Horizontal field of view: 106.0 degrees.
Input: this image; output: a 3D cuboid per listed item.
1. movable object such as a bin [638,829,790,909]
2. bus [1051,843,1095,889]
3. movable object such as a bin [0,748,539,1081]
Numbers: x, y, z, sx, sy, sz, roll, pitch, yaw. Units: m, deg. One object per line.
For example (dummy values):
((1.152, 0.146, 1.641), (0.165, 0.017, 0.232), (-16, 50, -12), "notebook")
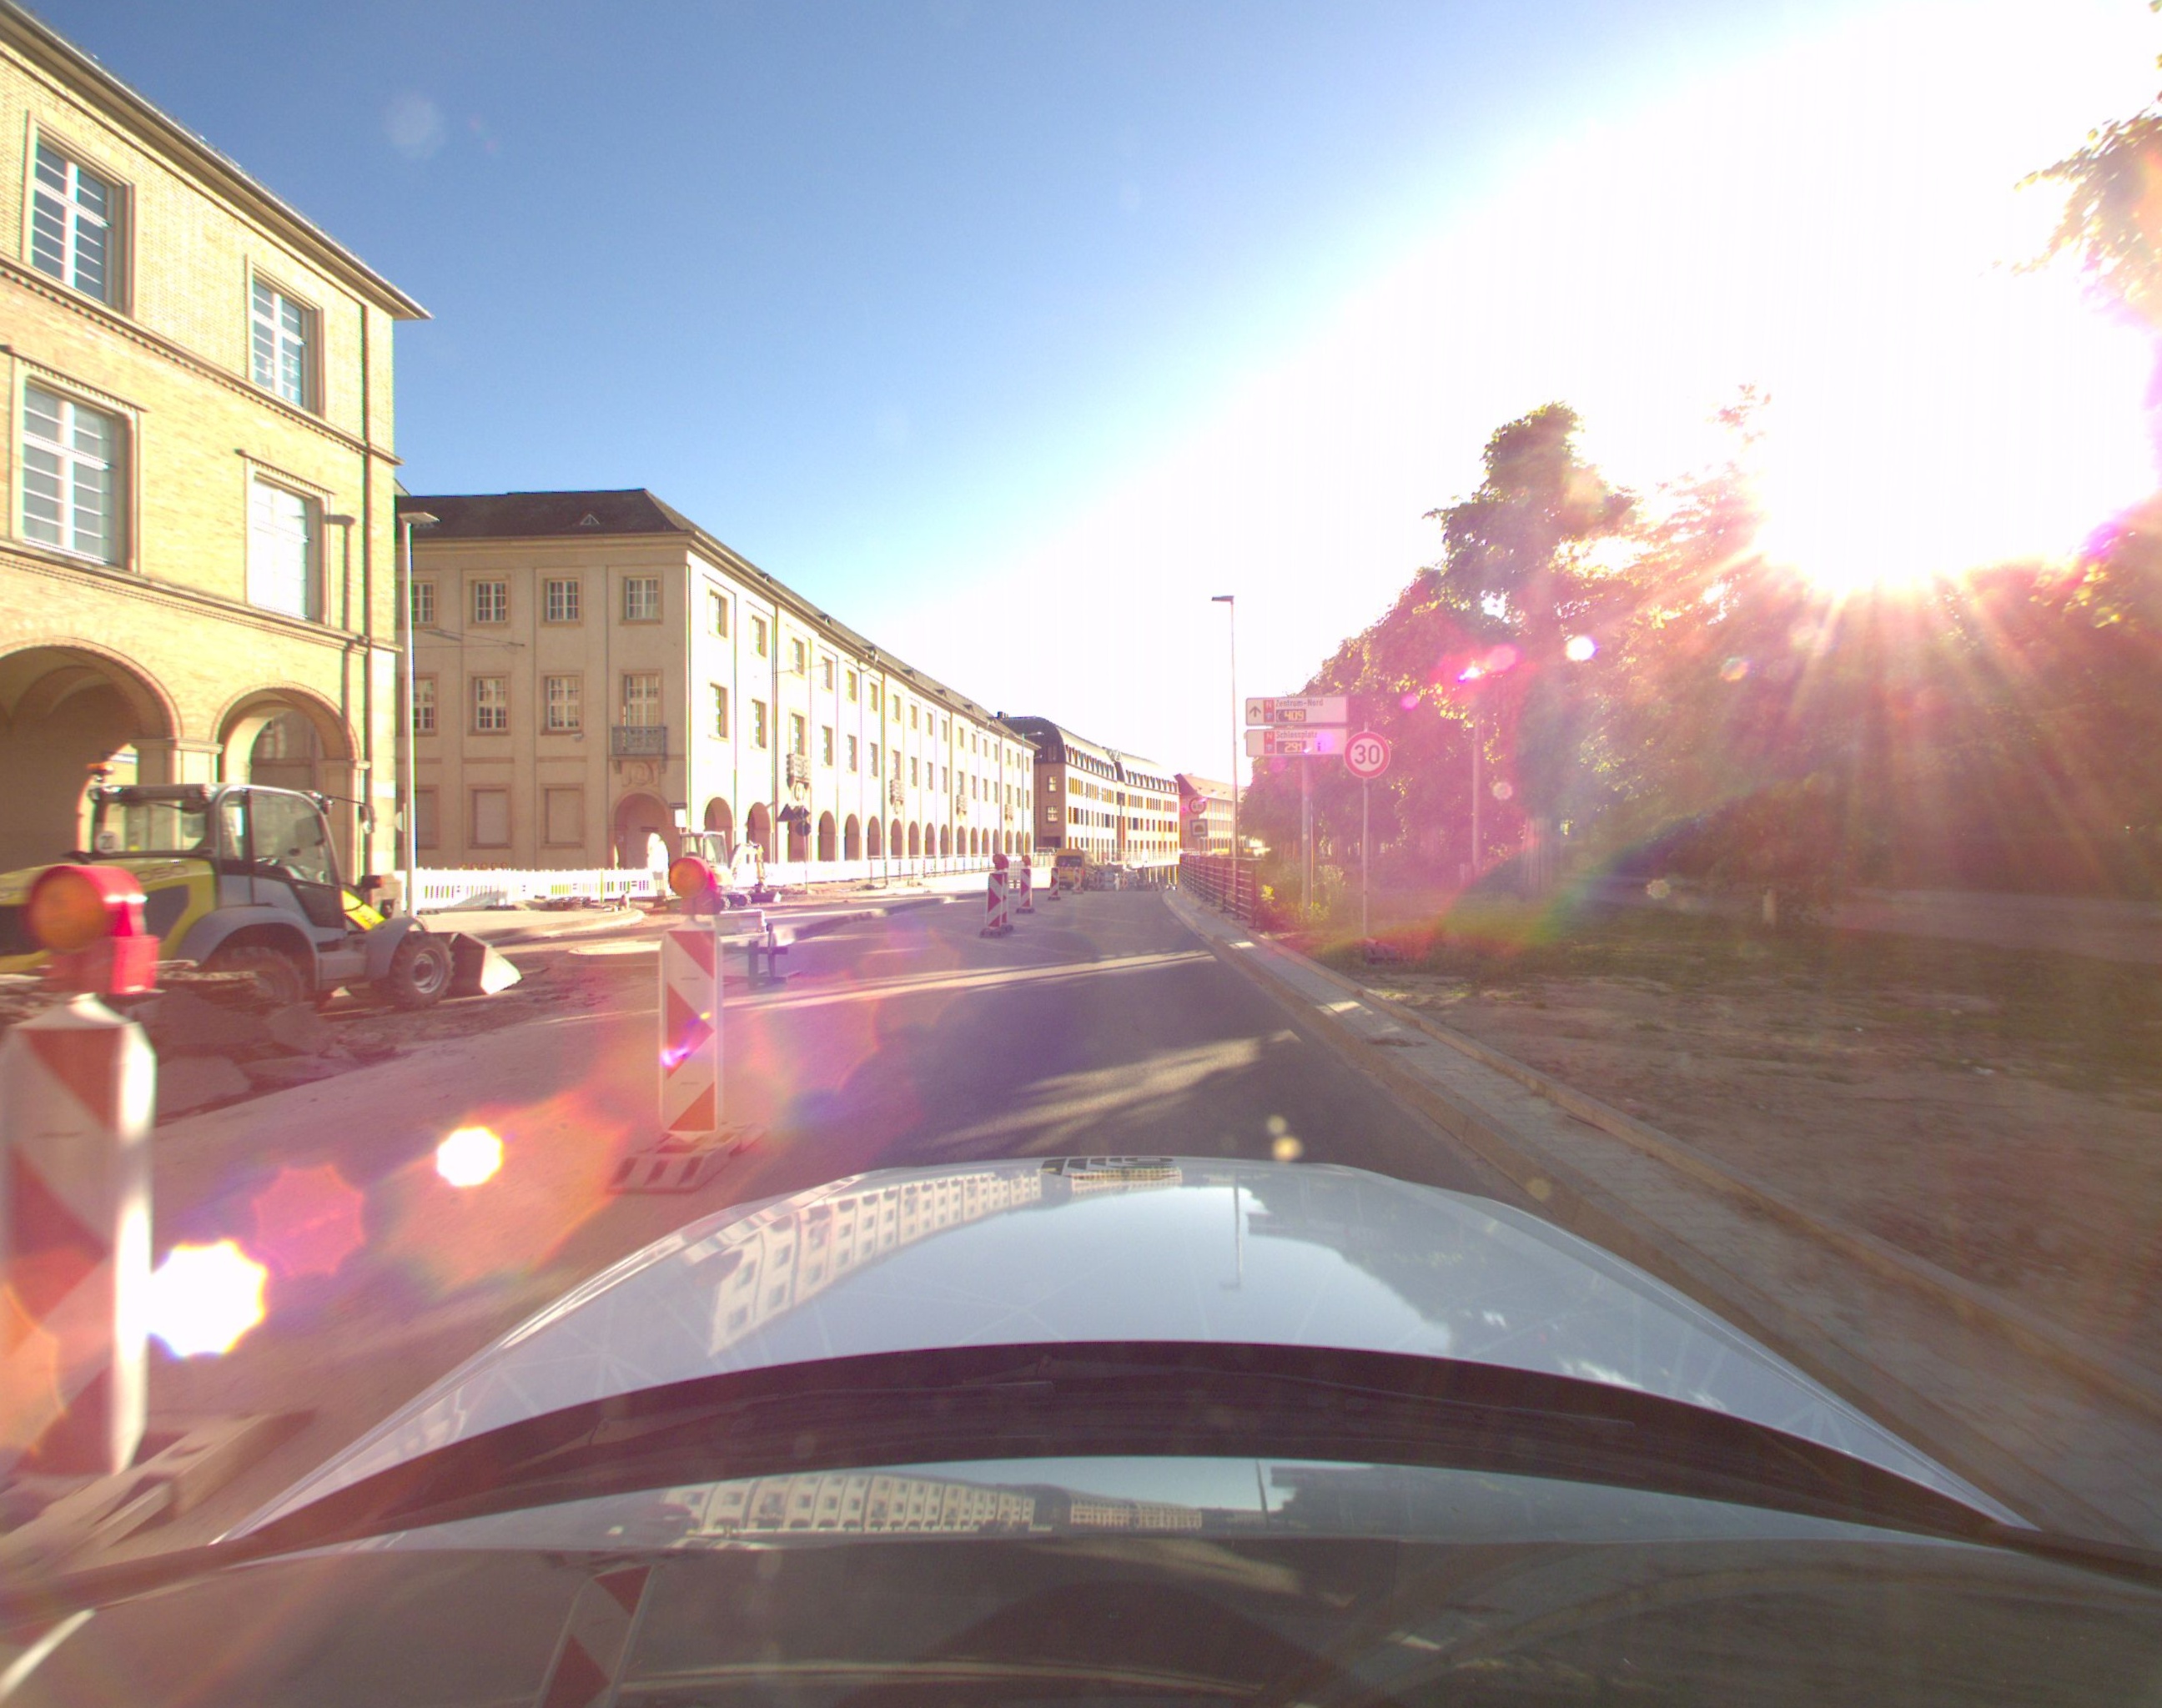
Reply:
((-11.726, 0.444, 26.452), (2.533, 2.348, 4.468), (-1, 0, 6), "movable object such as a bin")
((-0.434, 0.792, 50.705), (2.061, 2.687, 4.693), (0, -2, 8), "bus")
((-8.281, 0.410, 8.399), (2.066, 2.475, 4.621), (0, 1, 3), "movable object such as a bin")
